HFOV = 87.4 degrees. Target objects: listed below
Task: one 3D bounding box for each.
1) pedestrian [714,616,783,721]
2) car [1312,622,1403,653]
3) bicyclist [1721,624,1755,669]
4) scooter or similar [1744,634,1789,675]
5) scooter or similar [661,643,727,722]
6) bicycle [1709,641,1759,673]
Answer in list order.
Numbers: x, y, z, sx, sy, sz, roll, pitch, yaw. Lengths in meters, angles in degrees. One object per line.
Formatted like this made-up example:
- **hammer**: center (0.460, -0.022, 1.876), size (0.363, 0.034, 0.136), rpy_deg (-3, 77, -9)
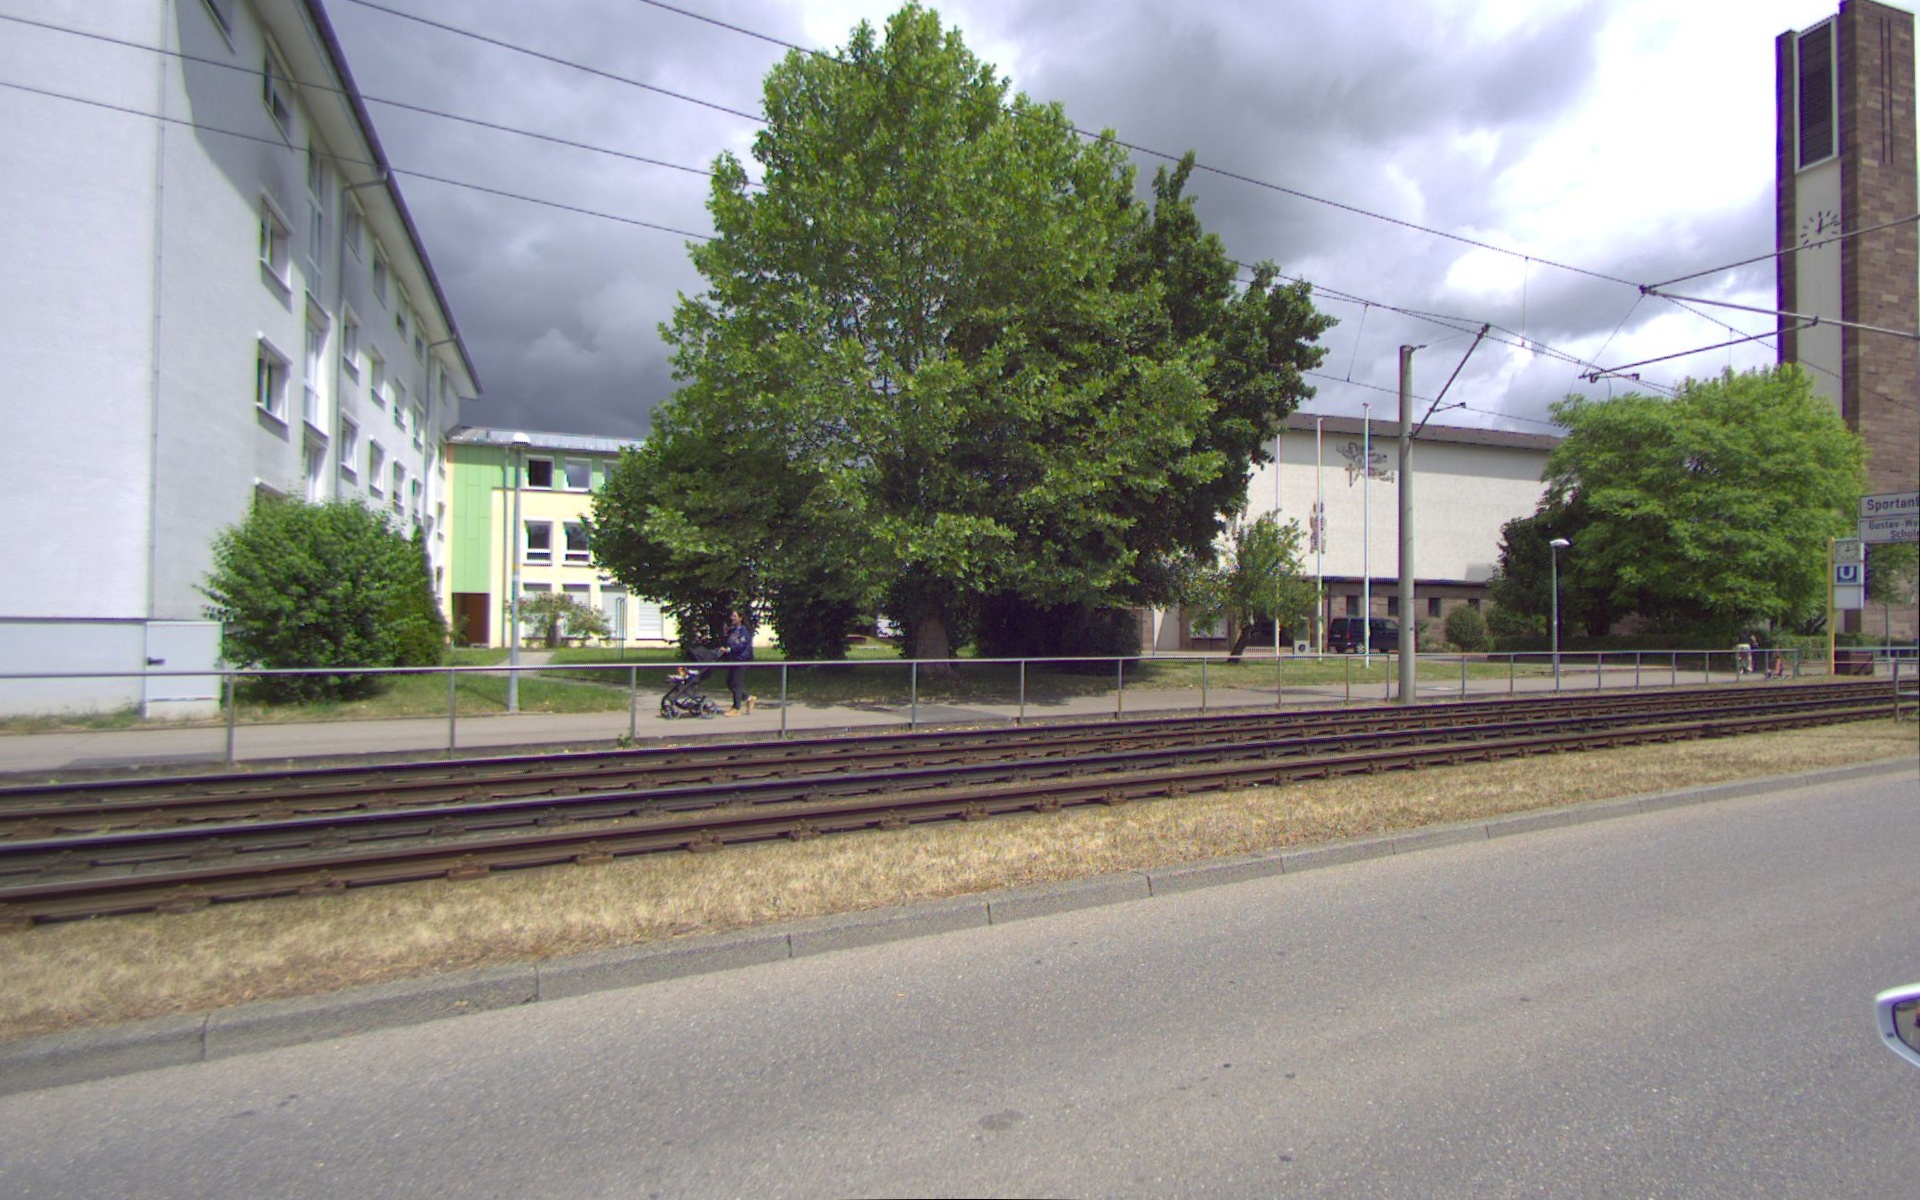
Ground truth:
- **pedestrian**: center (-3.258, 1.029, 15.471), size (0.864, 1.560, 0.609), rpy_deg (1, -1, -32)
- **car**: center (22.311, 2.081, 56.417), size (4.399, 1.595, 1.995), rpy_deg (1, 0, -12)
- **bicyclist**: center (25.925, 1.545, 33.486), size (0.781, 1.448, 0.630), rpy_deg (1, 0, -30)
- **scooter or similar**: center (25.952, 1.751, 32.322), size (1.384, 1.253, 0.646), rpy_deg (0, 1, -30)
- **scooter or similar**: center (-3.975, 1.218, 15.013), size (0.812, 1.130, 0.601), rpy_deg (1, -1, -32)
- **bicycle**: center (25.711, 1.888, 33.345), size (1.906, 1.007, 0.634), rpy_deg (1, 0, -31)
